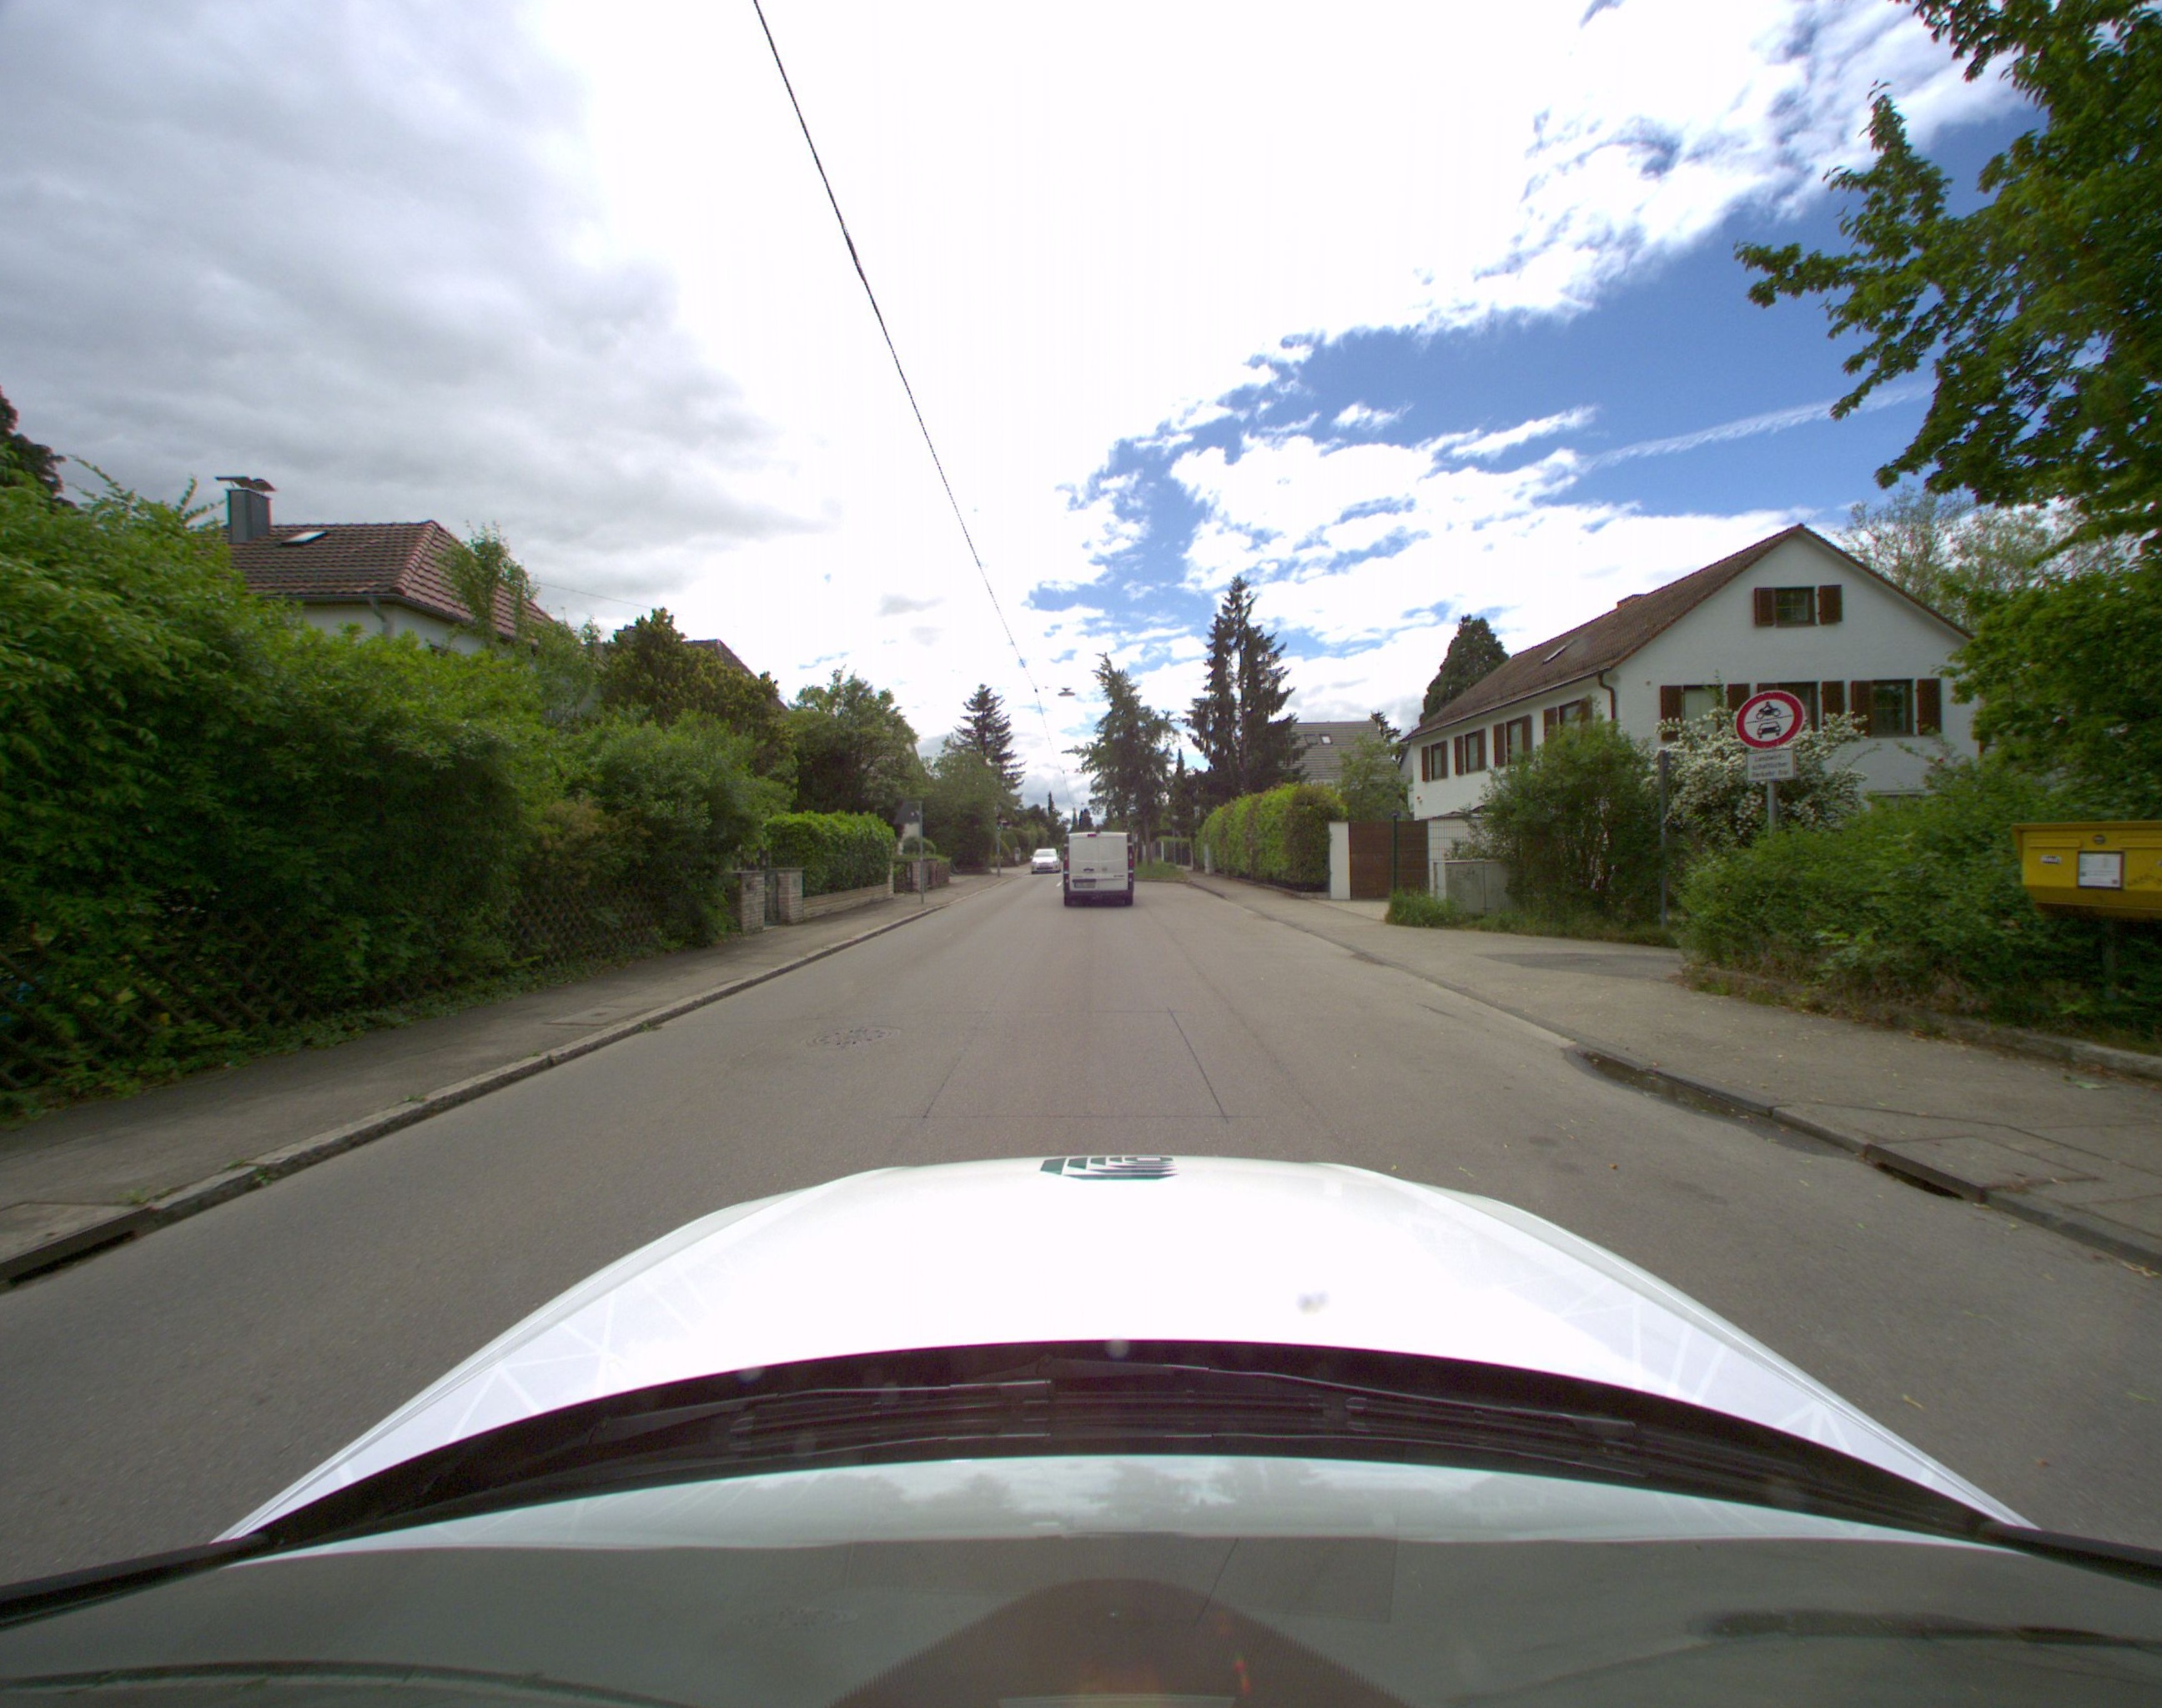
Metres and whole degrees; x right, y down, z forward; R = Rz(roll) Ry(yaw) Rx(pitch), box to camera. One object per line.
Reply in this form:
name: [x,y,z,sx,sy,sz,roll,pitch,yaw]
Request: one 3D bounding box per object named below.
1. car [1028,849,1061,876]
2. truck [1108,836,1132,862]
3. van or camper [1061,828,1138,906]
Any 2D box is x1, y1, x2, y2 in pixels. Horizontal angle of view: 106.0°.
car: [-2.243,0.502,50.878,1.849,1.451,4.280,-3,0,-1]
truck: [3.861,-0.454,81.365,2.180,2.471,7.431,0,0,1]
van or camper: [0.489,0.367,23.048,1.933,1.954,4.764,-1,-1,0]
